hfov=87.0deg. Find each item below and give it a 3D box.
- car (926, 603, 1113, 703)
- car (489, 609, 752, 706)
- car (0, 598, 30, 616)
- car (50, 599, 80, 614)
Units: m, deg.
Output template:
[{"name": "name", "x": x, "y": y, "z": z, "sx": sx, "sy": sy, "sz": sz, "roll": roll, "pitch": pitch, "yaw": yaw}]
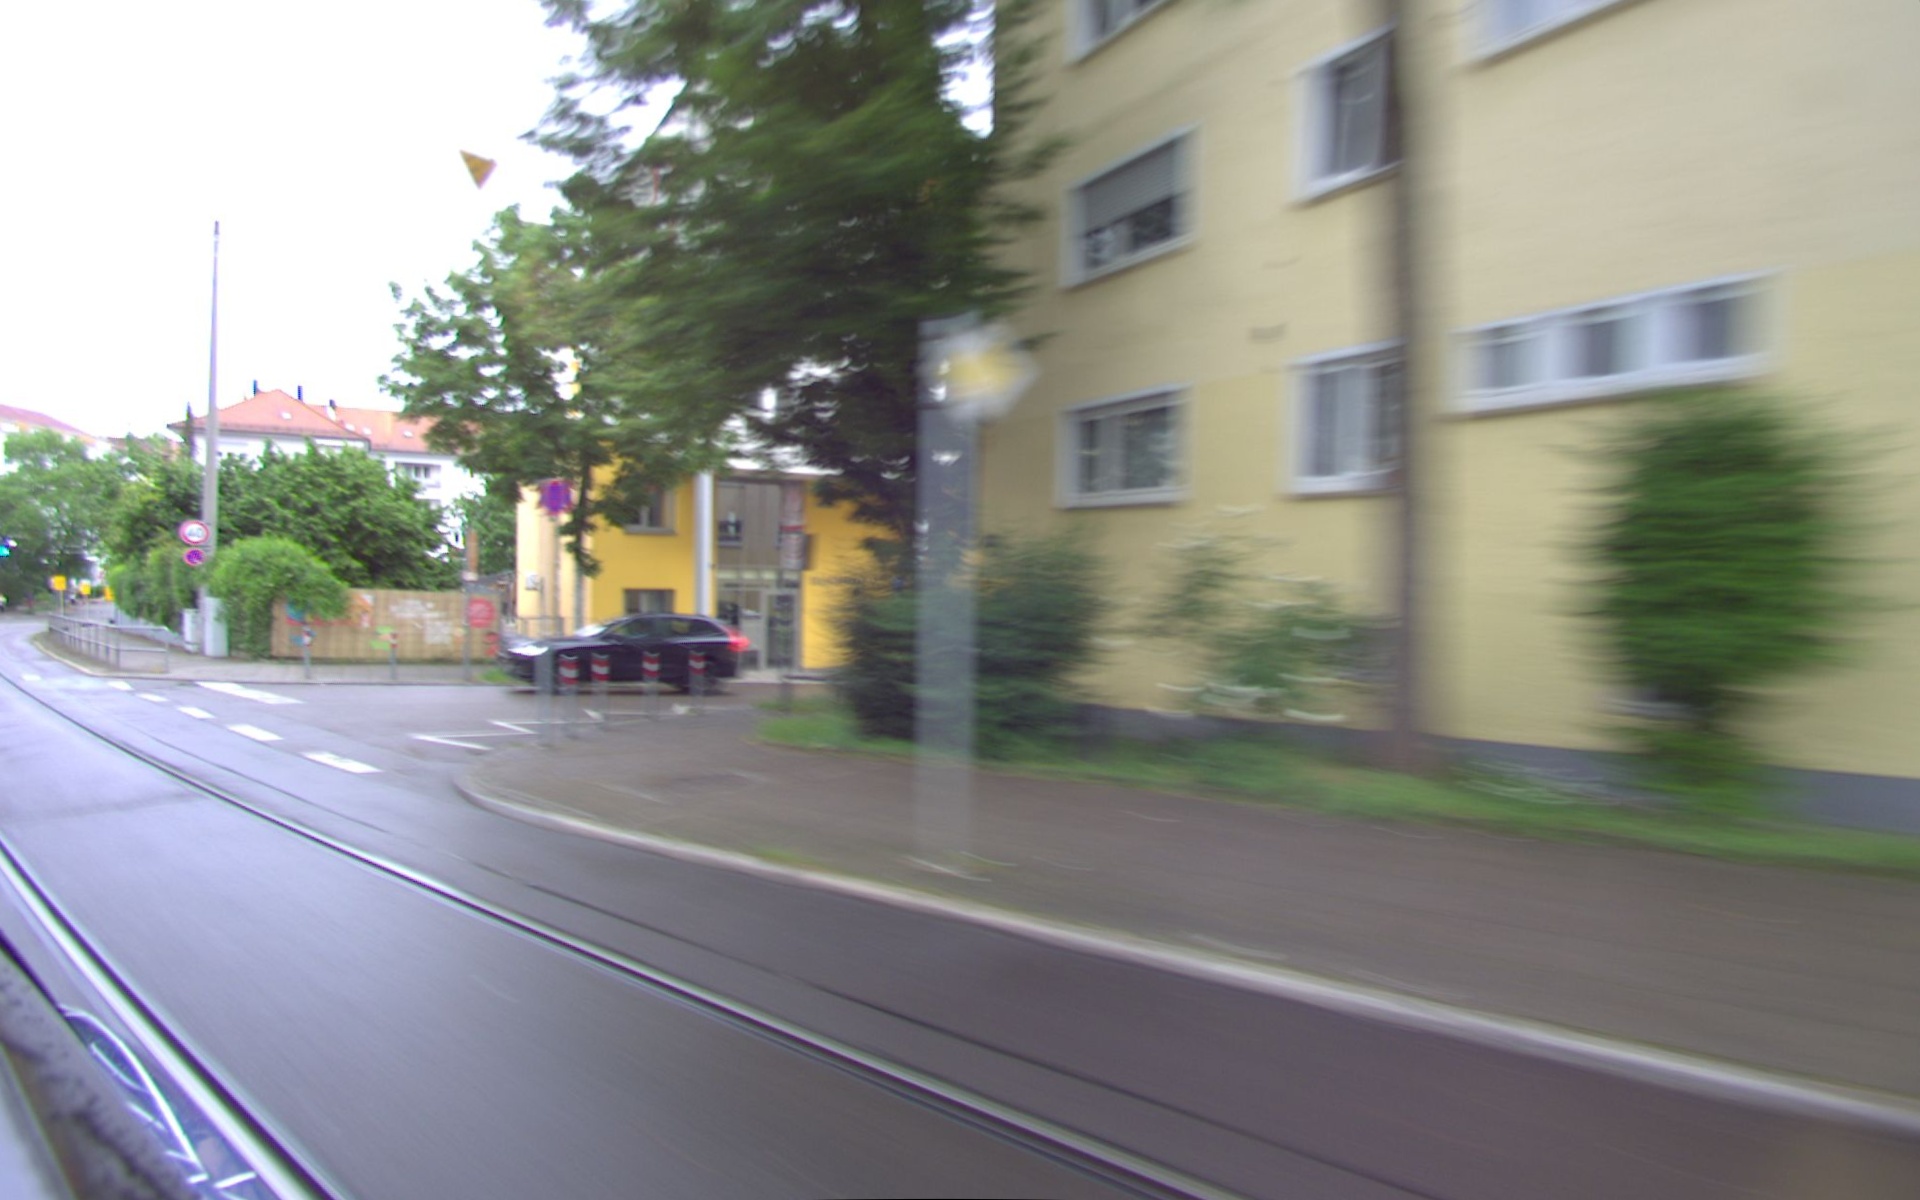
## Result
[{"name": "car", "x": 1.762, "y": 1.546, "z": 29.124, "sx": 4.986, "sy": 2.548, "sz": 2.006, "roll": 5, "pitch": -3, "yaw": -30}, {"name": "car", "x": -6.909, "y": 1.191, "z": 20.725, "sx": 4.690, "sy": 1.690, "sz": 2.077, "roll": 5, "pitch": -3, "yaw": -30}, {"name": "car", "x": -84.705, "y": 0.635, "z": 90.342, "sx": 1.770, "sy": 1.522, "sz": 4.011, "roll": 0, "pitch": 0, "yaw": -32}, {"name": "car", "x": -95.406, "y": 0.686, "z": 107.965, "sx": 1.770, "sy": 1.522, "sz": 4.011, "roll": 0, "pitch": 0, "yaw": -32}]
